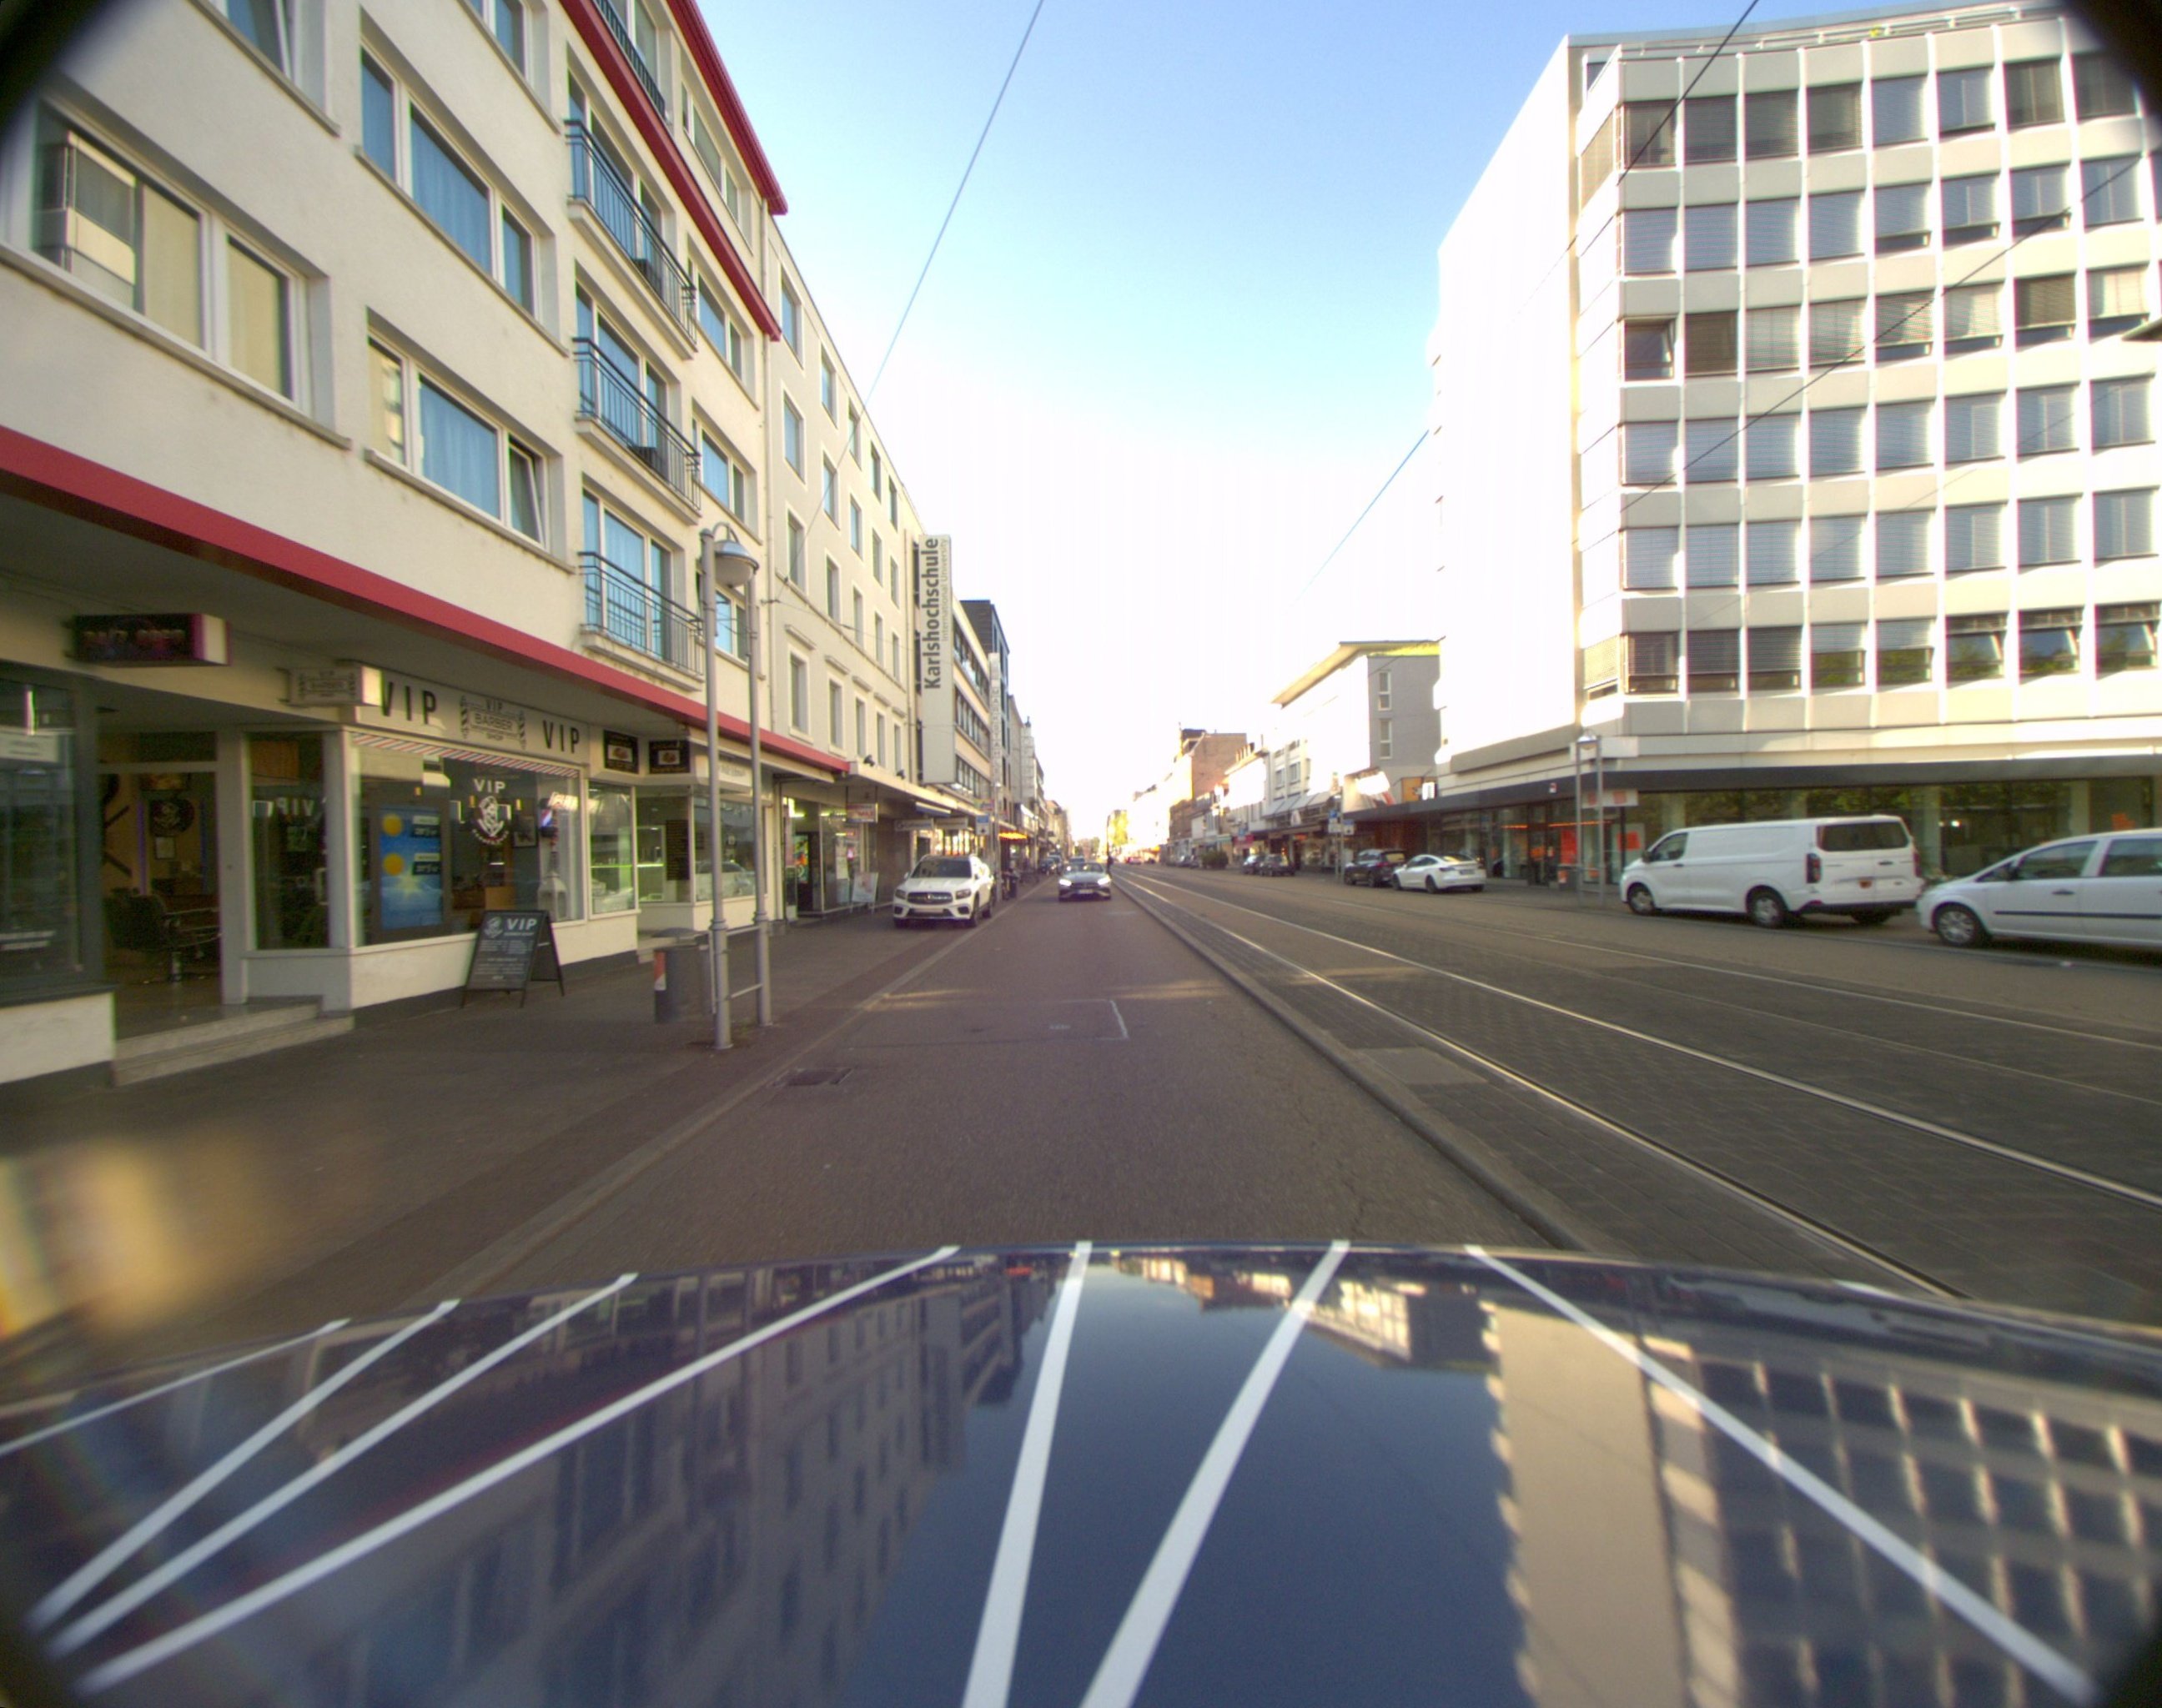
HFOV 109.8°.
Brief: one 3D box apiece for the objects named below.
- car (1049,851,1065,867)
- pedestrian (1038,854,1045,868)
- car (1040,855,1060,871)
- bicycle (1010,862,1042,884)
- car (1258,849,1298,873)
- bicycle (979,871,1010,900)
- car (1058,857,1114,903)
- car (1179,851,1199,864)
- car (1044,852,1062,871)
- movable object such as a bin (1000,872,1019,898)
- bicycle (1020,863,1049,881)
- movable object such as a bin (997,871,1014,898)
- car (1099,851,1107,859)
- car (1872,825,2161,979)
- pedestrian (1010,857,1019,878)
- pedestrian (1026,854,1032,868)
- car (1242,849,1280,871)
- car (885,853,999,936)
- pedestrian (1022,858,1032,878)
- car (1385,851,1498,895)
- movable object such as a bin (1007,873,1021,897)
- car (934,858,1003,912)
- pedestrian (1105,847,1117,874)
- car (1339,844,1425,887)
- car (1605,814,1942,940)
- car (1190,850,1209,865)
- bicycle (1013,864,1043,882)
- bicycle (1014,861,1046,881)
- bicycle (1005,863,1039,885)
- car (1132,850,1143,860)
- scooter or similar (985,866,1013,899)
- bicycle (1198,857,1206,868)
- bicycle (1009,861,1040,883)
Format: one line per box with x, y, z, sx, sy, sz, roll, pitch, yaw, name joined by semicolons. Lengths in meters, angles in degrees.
-3.110;0.599;97.482;2.052;1.899;4.877;-1;1;-3;car
-4.331;0.776;82.748;0.697;1.499;0.814;-1;1;0;pedestrian
-2.947;0.819;73.269;1.726;1.476;4.415;0;1;0;car
-3.152;1.097;43.685;1.792;1.210;0.669;-1;1;0;bicycle
13.330;0.460;51.571;1.605;1.514;3.588;-4;1;-2;car
-3.232;1.162;28.379;1.134;1.073;0.320;0;1;-1;bicycle
0.163;0.878;27.863;1.858;1.463;4.785;-1;1;0;car
13.570;0.444;95.726;1.822;1.505;4.762;-2;1;0;car
-2.950;0.758;79.870;1.821;1.849;4.548;0;1;-3;car
-2.820;1.223;30.044;0.688;1.008;0.508;-1;1;3;movable object such as a bin
-2.921;1.144;47.915;1.778;1.124;0.478;-1;1;-5;bicycle
-2.916;1.185;29.337;0.523;1.008;0.671;-1;1;3;movable object such as a bin
5.812;0.219;202.682;1.998;2.002;4.000;-3;1;1;car
13.196;0.518;9.524;1.812;1.676;4.649;-3;1;3;car
-5.077;1.019;57.936;0.583;1.576;0.597;1;1;-2;pedestrian
-5.642;0.755;82.946;0.577;1.431;0.731;0;1;0;pedestrian
13.570;0.410;57.626;1.741;1.514;4.851;-4;1;1;car
-3.199;0.850;18.562;1.854;1.714;5.192;0;1;0;car
-4.148;1.070;58.445;0.584;1.485;0.523;0;1;-36;pedestrian
13.353;0.649;28.505;1.893;1.413;4.655;-3;1;-1;car
-2.688;1.244;30.573;0.489;0.952;0.458;0;1;3;movable object such as a bin
-3.533;0.942;24.480;1.618;1.519;4.069;-1;1;0;car
2.042;0.464;51.975;0.806;1.827;0.746;0;1;-1;pedestrian
13.341;0.464;33.999;1.983;1.669;4.654;-3;1;1;car
13.241;0.360;15.151;1.999;1.964;5.096;-3;1;0;car
13.464;0.410;86.423;1.701;1.594;2.891;-3;1;0;car
-3.217;1.159;46.049;1.778;1.026;0.597;-1;1;0;bicycle
-3.290;1.070;49.156;2.043;1.267;0.524;-1;1;-9;bicycle
-3.287;1.115;42.443;1.792;1.153;0.669;-1;1;0;bicycle
10.183;0.167;136.791;1.802;1.625;3.675;-1;1;0;car
-3.094;1.076;28.726;0.995;1.224;0.320;0;1;-1;scooter or similar
12.601;0.831;79.253;0.519;1.084;1.716;-3;1;0;bicycle
-3.330;1.058;44.680;1.792;1.210;0.587;-1;1;0;bicycle
